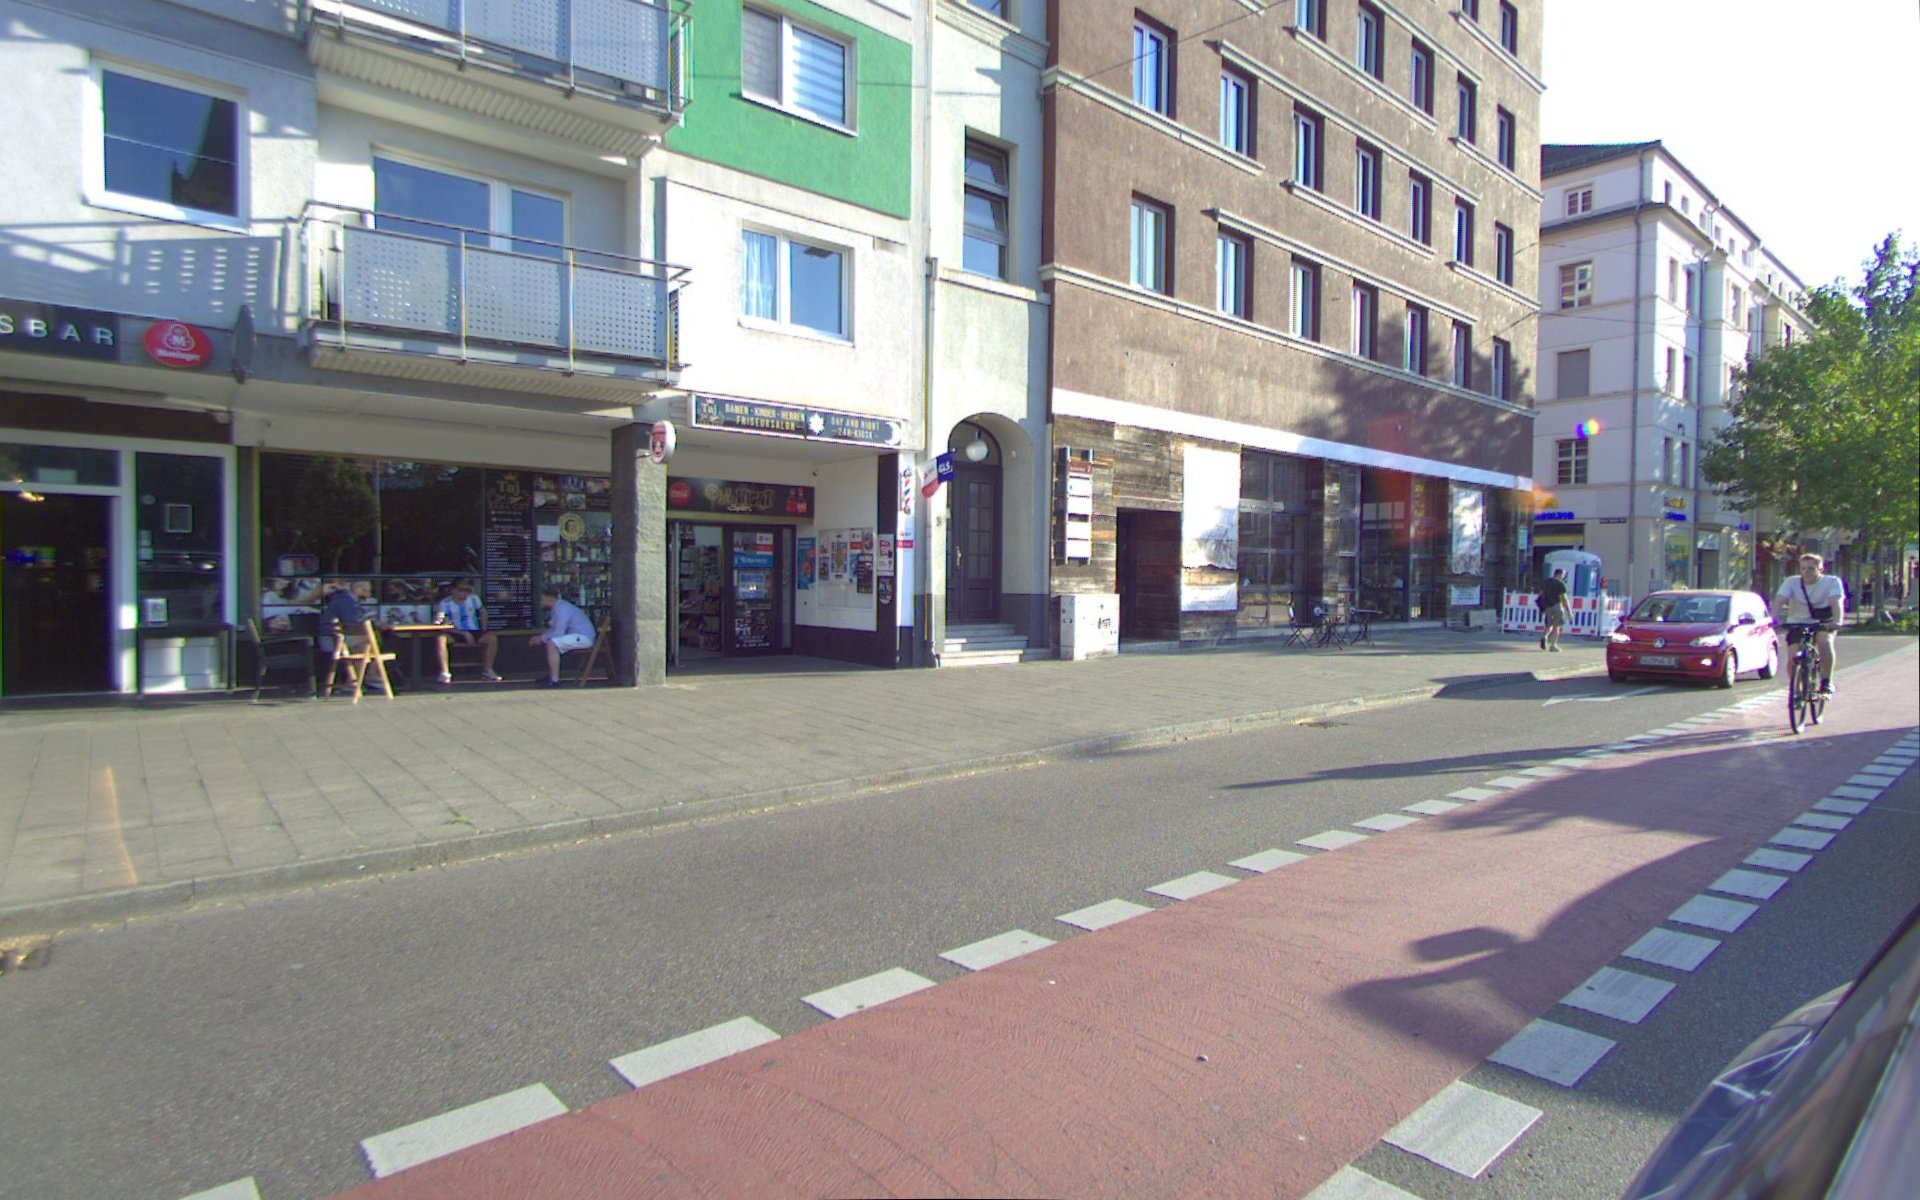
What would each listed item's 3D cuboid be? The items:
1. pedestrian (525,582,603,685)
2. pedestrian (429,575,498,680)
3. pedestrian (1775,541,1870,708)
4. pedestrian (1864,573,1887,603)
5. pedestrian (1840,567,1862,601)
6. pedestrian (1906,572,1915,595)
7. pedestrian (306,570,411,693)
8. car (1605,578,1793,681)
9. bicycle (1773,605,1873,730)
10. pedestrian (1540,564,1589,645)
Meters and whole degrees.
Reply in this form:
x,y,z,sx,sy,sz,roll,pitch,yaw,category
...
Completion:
x,y,z,sx,sy,sz,roll,pitch,yaw,category
-4.723,0.377,12.076,0.715,1.166,0.605,-1,1,-41,pedestrian
-6.150,0.312,12.532,0.635,1.247,0.727,0,1,-39,pedestrian
9.074,0.236,10.648,0.828,1.669,0.639,-1,0,-41,pedestrian
45.142,-0.612,49.904,0.908,1.458,0.727,-1,1,-41,pedestrian
44.815,-0.796,50.888,0.908,1.697,0.727,0,1,-41,pedestrian
60.402,-1.022,64.292,0.350,1.458,0.311,0,1,-33,pedestrian
-6.729,0.327,11.323,0.937,1.311,0.646,-1,1,-38,pedestrian
12.032,0.411,16.414,3.477,1.499,1.686,-1,0,-40,car
9.095,0.662,10.641,1.817,1.173,0.529,-1,0,-41,bicycle
12.423,0.082,20.788,0.869,1.616,0.602,-1,1,-41,pedestrian
